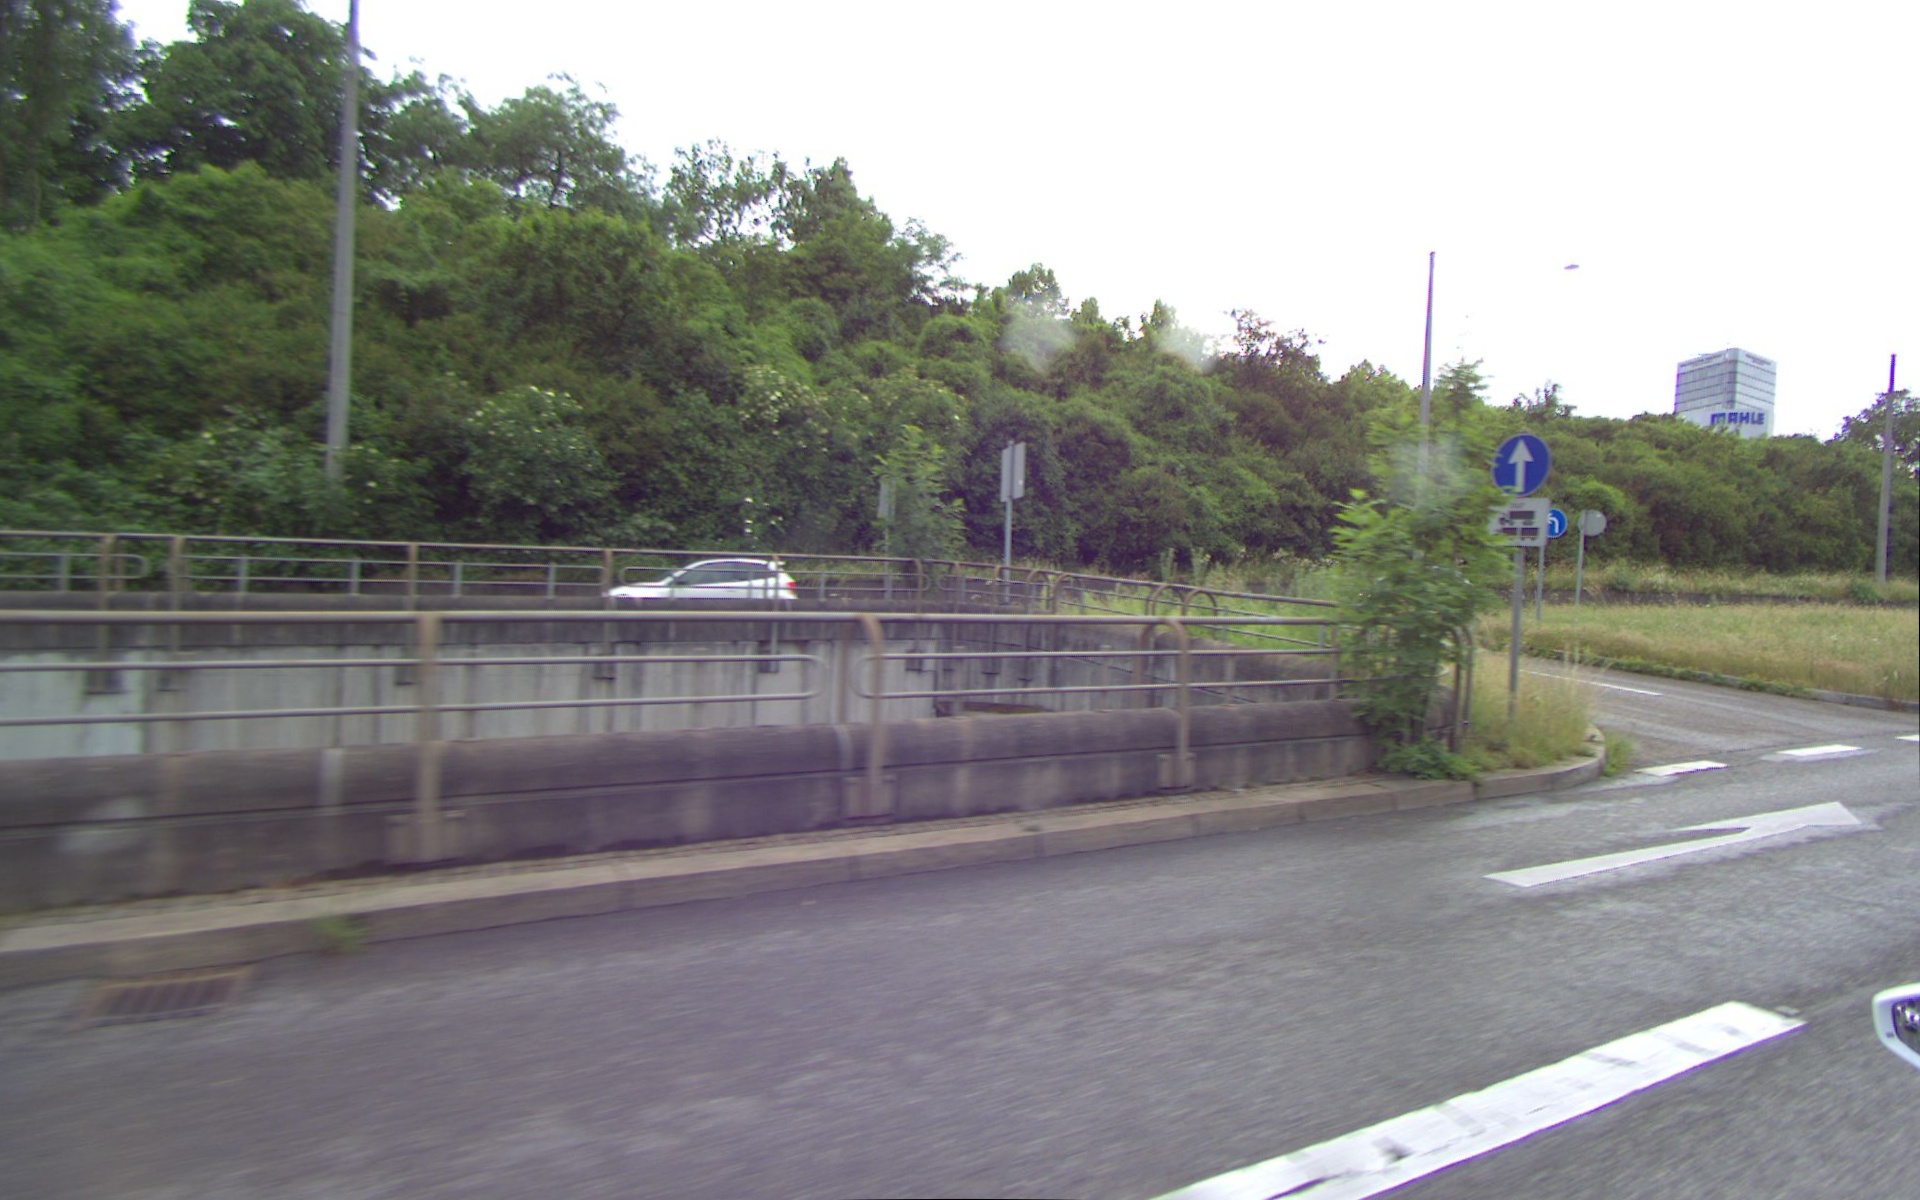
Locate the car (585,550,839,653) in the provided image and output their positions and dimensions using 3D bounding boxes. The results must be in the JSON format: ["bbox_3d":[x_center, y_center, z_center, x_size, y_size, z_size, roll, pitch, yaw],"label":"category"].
[{"bbox_3d":[-4.917,0.049,20.004,4.572,1.859,1.985,1,1,-28],"label":"car"}]

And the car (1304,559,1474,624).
[{"bbox_3d":[12.546,-0.244,29.342,4.662,1.659,1.985,2,3,-28],"label":"car"}]
